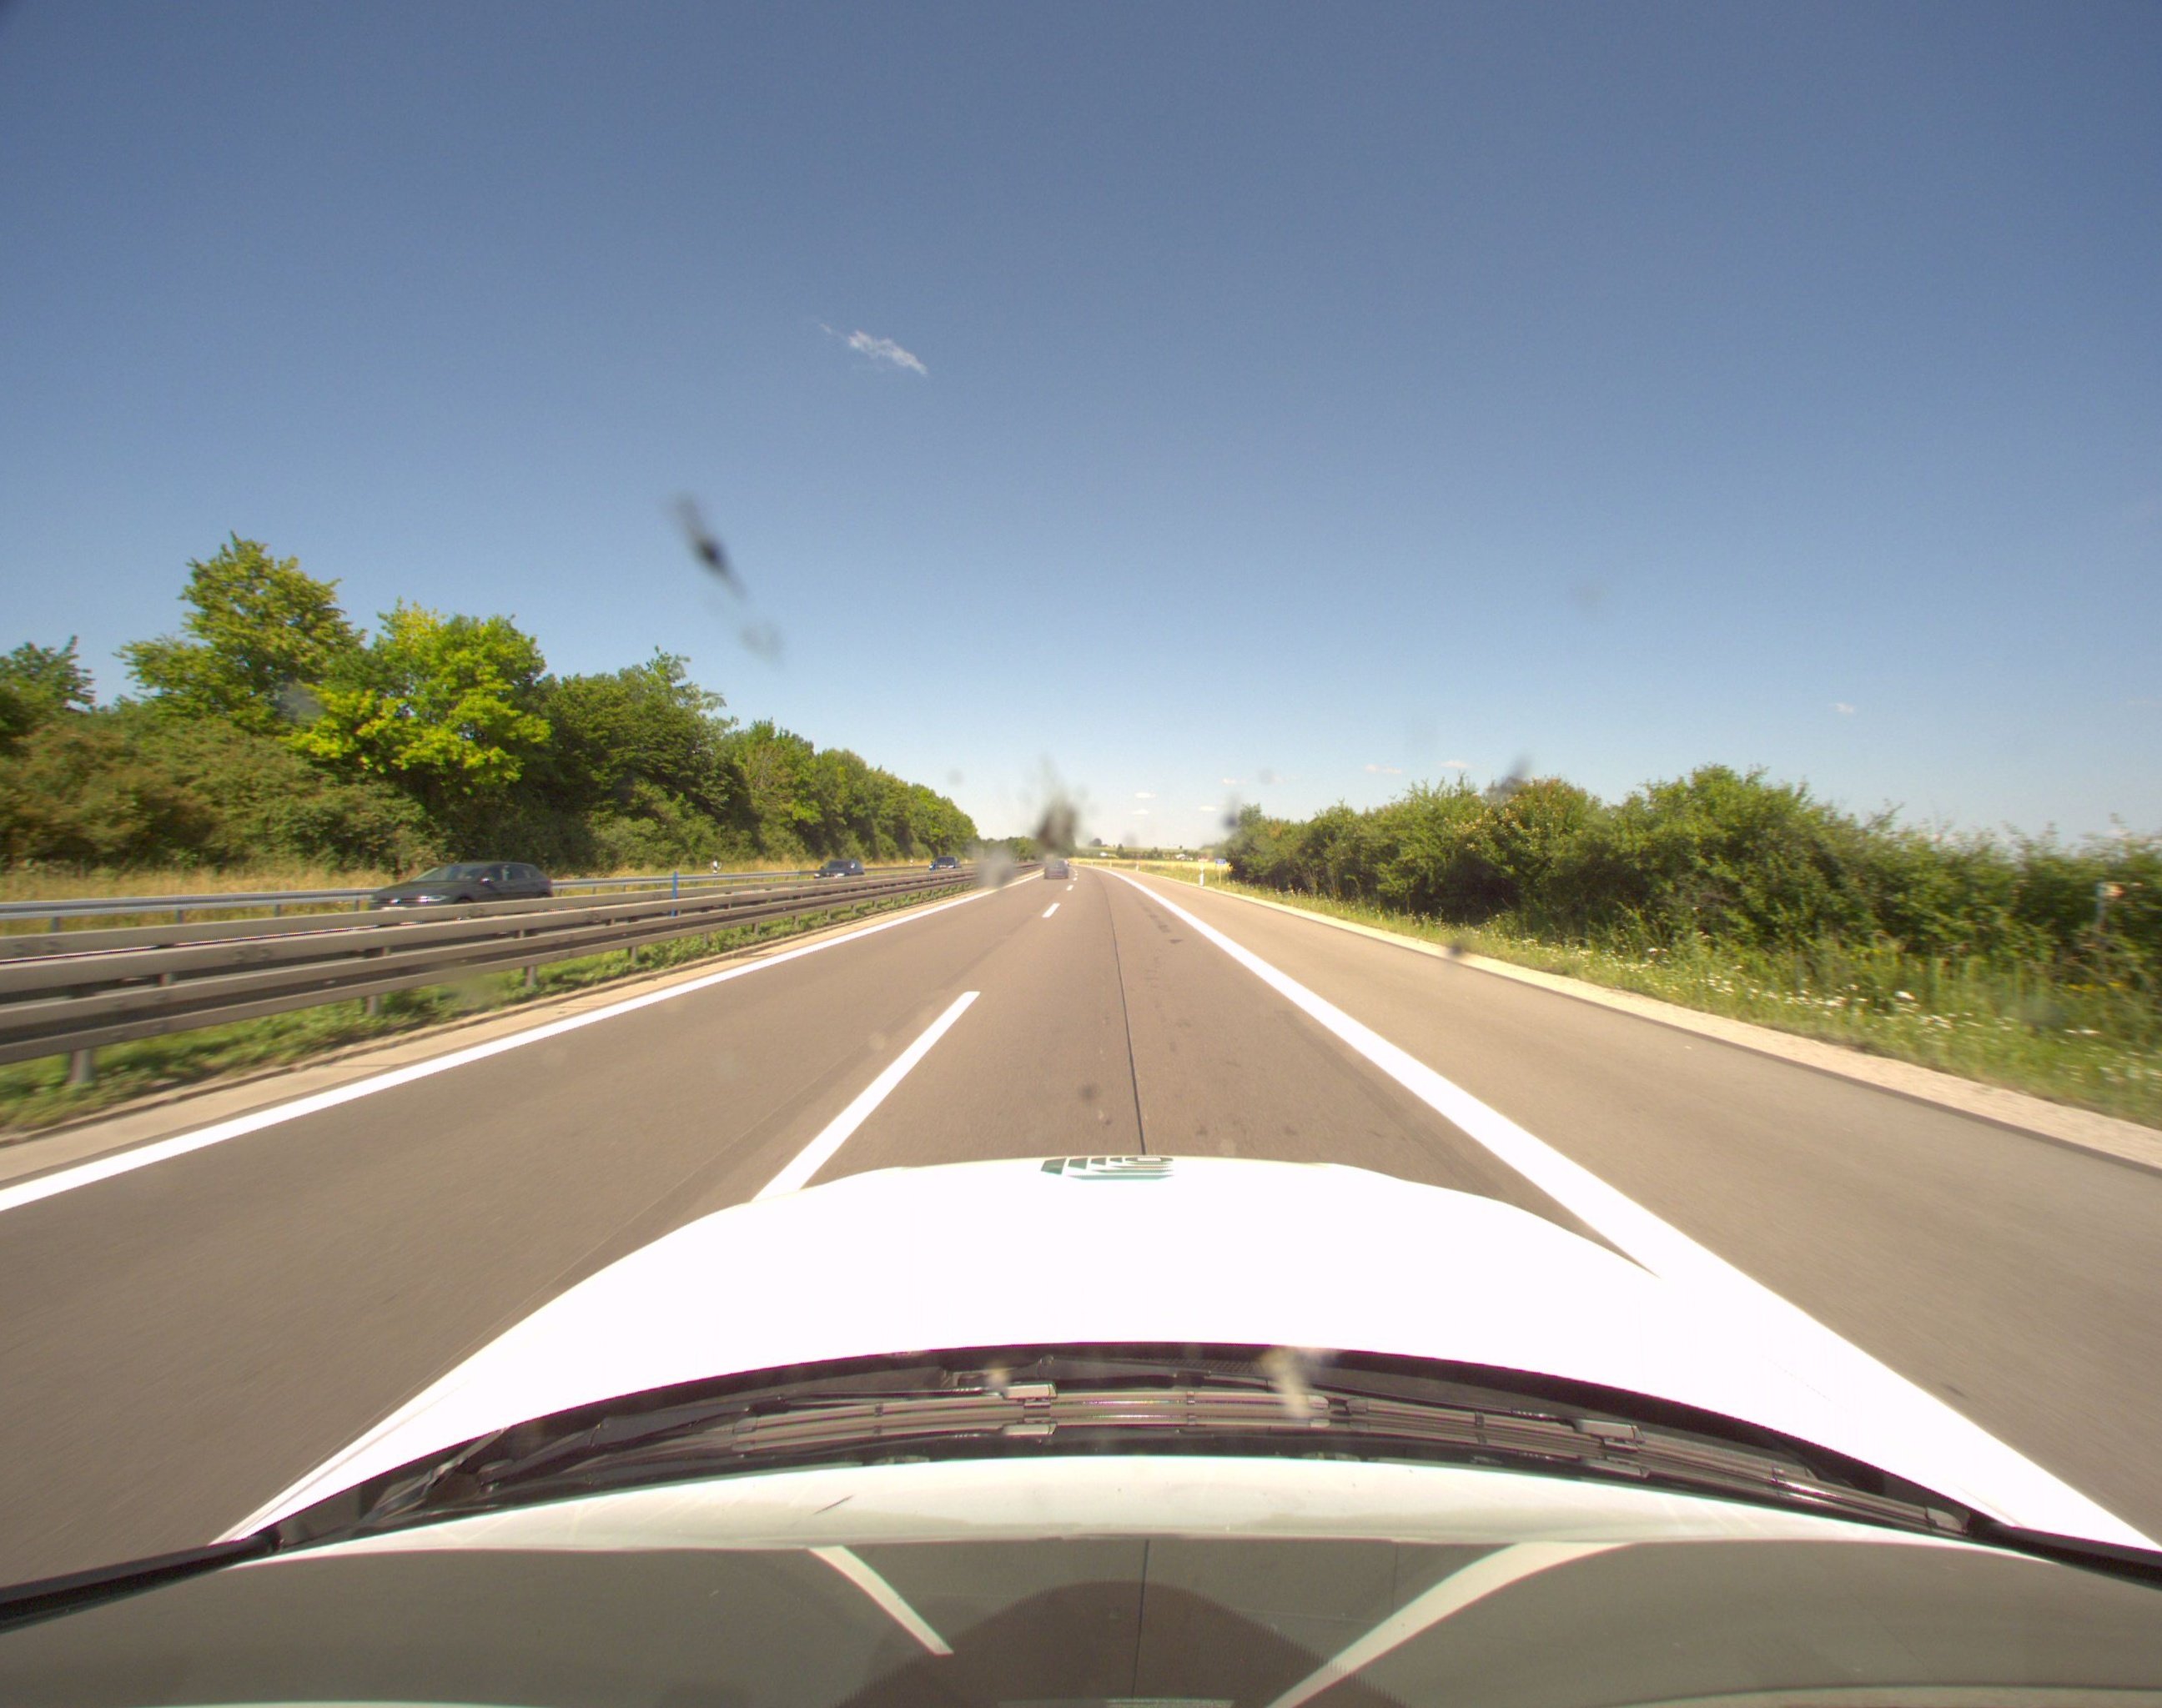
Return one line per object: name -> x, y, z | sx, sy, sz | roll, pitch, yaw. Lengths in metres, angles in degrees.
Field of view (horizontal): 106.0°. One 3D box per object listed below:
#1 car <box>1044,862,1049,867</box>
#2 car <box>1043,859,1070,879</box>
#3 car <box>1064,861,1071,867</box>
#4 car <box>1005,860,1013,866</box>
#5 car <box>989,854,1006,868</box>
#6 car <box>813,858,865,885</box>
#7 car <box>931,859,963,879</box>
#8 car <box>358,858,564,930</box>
car -> -10.104, 3.100, 238.495 | 1.672, 1.453, 3.588 | 0, 0, -2
car -> -1.834, 1.111, 62.991 | 1.841, 1.433, 5.865 | 0, 0, 0
car -> -3.377, 2.469, 206.989 | 1.672, 1.453, 3.587 | 0, 0, -4
car -> -20.035, 2.513, 226.538 | 1.806, 1.555, 4.846 | 0, 0, -2
car -> -15.781, 1.244, 153.484 | 2.536, 2.595, 6.591 | 1, 0, -1
car -> -13.397, 0.961, 45.321 | 1.656, 1.422, 4.000 | 0, 0, 1
car -> -9.958, 1.113, 60.717 | 1.656, 1.422, 4.000 | 0, 0, 1
car -> -14.125, 0.835, 18.890 | 1.573, 1.462, 4.152 | 0, 0, 0
